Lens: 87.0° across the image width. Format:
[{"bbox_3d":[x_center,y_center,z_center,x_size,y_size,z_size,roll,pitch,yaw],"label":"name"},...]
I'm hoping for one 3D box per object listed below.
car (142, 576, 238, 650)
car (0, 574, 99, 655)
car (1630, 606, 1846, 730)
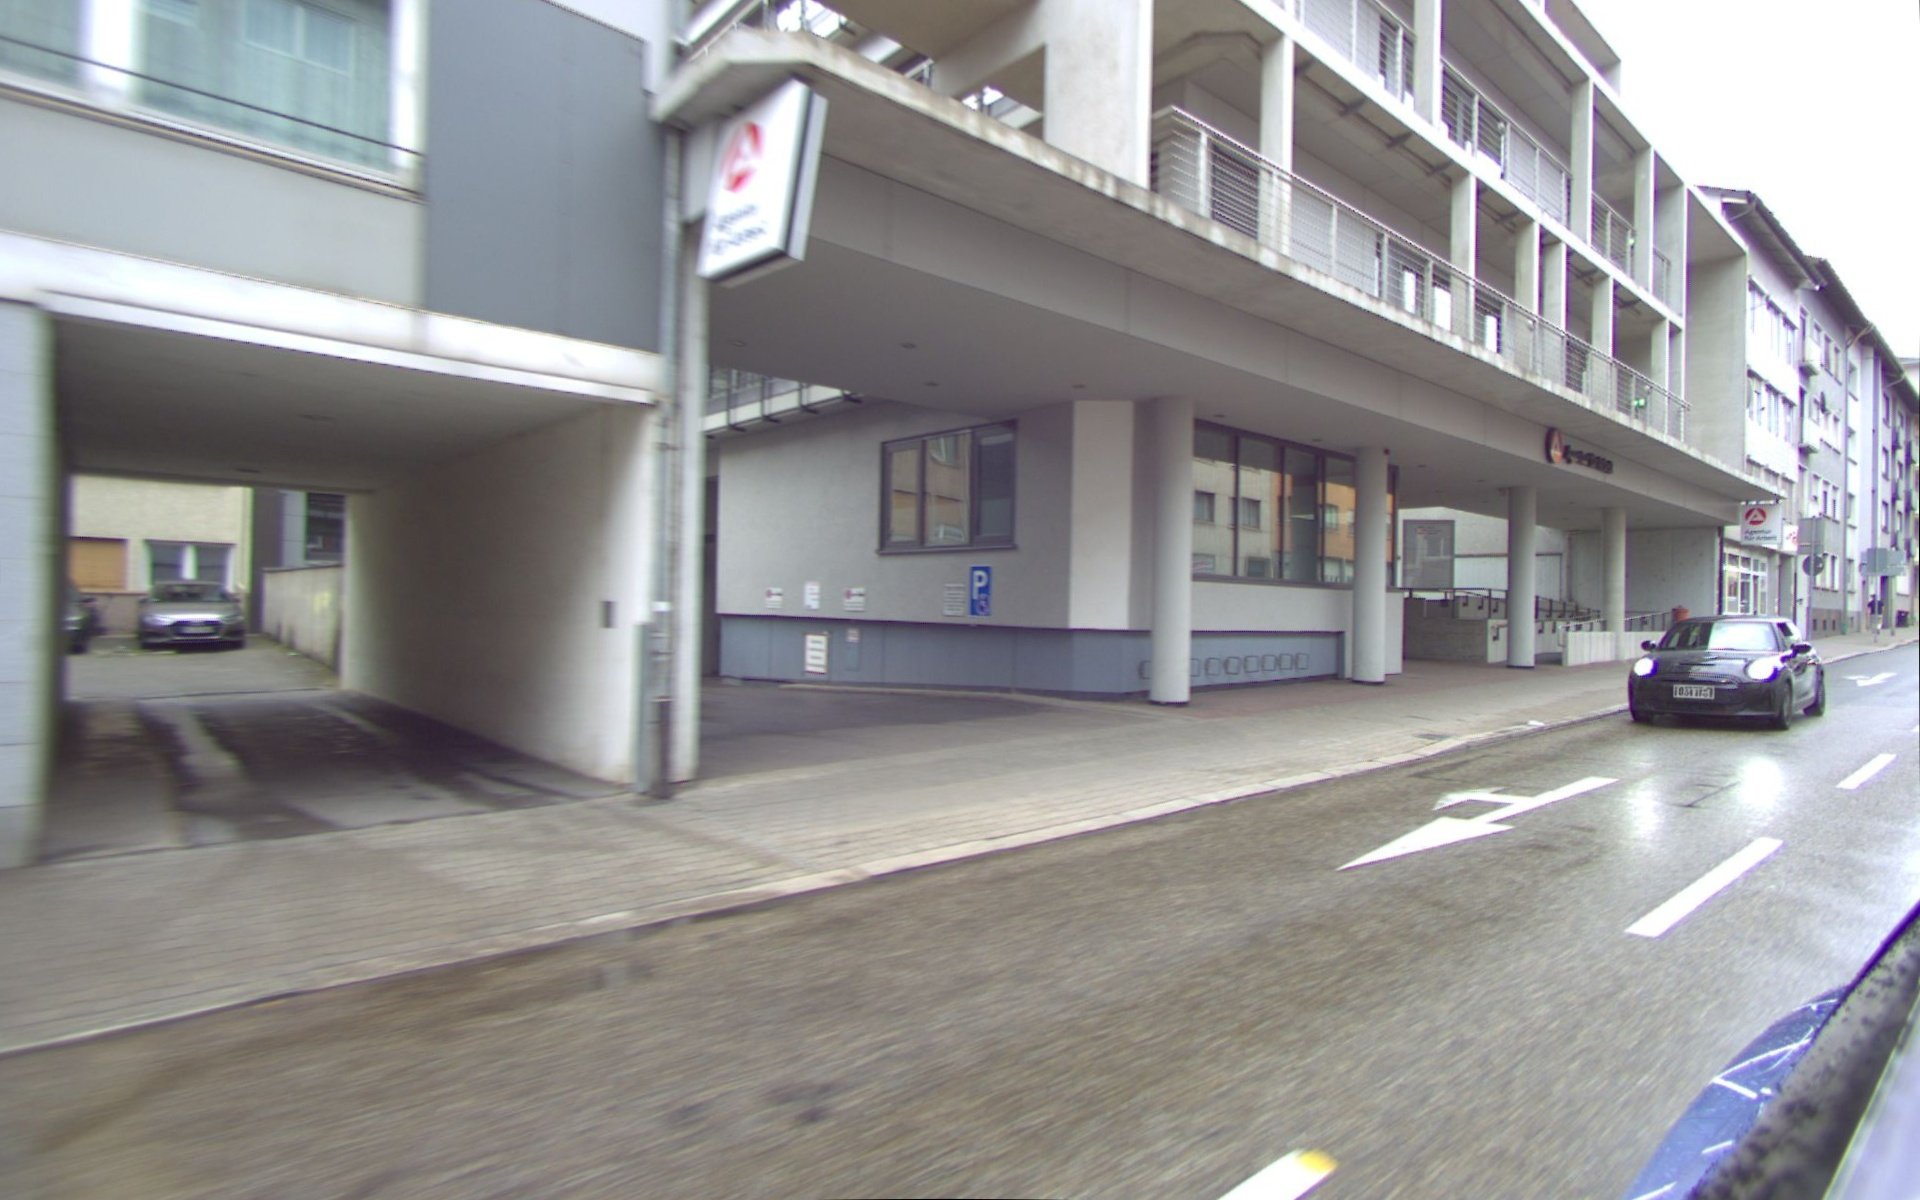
[{"bbox_3d":[-16.913,0.213,22.348,1.562,1.460,3.751,0,2,-36],"label":"car"},{"bbox_3d":[-18.465,0.237,20.247,1.628,1.460,3.299,0,2,-36],"label":"car"},{"bbox_3d":[10.872,0.837,14.047,4.003,1.438,1.662,-1,-1,-42],"label":"car"}]
